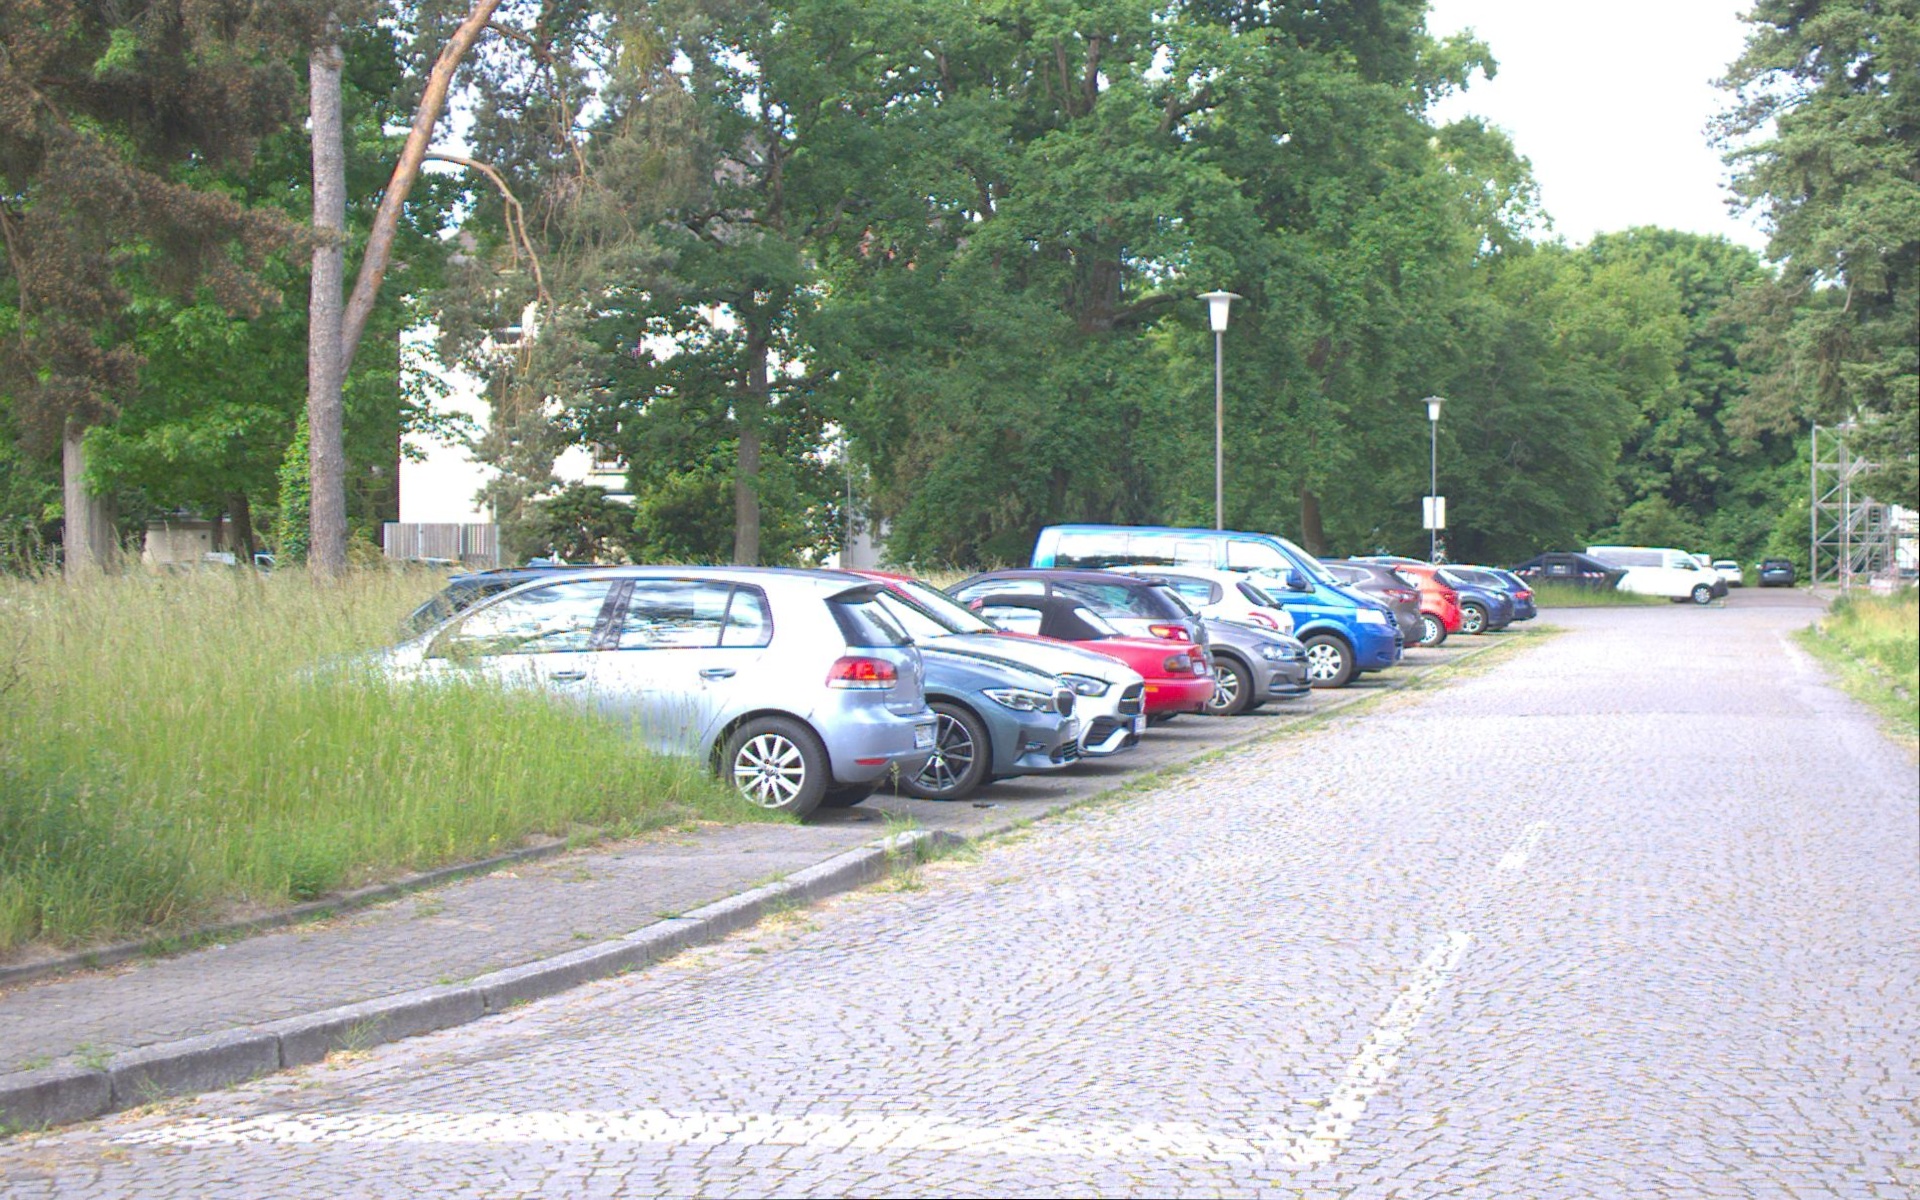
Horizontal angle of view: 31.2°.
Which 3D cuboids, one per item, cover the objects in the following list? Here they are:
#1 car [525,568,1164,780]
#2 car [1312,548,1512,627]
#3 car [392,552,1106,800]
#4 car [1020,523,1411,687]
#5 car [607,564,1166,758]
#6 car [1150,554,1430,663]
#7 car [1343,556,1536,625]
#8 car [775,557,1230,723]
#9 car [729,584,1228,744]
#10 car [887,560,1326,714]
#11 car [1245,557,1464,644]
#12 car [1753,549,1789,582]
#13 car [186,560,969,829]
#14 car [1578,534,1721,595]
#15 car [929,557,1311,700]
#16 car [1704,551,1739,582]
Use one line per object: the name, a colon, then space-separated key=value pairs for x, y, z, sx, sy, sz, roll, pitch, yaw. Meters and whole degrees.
car: x=-0.831 y=0.516 z=25.913 sx=4.439 sy=1.450 sz=1.948 roll=1 pitch=0 yaw=13
car: x=9.563 y=-0.279 z=72.598 sx=4.073 sy=1.598 sz=1.787 roll=1 pitch=1 yaw=11
car: x=-1.371 y=0.478 z=23.283 sx=4.503 sy=1.532 sz=1.870 roll=1 pitch=0 yaw=10
car: x=3.287 y=0.032 z=43.854 sx=4.712 sy=1.974 sz=2.037 roll=1 pitch=1 yaw=12
car: x=-0.566 y=0.463 z=28.220 sx=4.256 sy=1.450 sz=1.854 roll=1 pitch=1 yaw=13
car: x=5.066 y=0.111 z=52.545 sx=4.070 sy=1.570 sz=1.953 roll=1 pitch=1 yaw=12
car: x=10.767 y=-0.234 z=77.139 sx=4.074 sy=1.462 sz=1.624 roll=1 pitch=1 yaw=16
car: x=0.429 y=0.351 z=33.184 sx=4.090 sy=1.475 sz=1.754 roll=1 pitch=1 yaw=14
car: x=0.194 y=0.536 z=30.491 sx=4.133 sy=1.279 sz=1.763 roll=1 pitch=1 yaw=13
car: x=1.546 y=0.353 z=35.885 sx=4.307 sy=1.475 sz=1.730 roll=1 pitch=1 yaw=14
car: x=7.202 y=-0.009 z=62.632 sx=3.818 sy=1.484 sz=1.787 roll=1 pitch=1 yaw=12
car: x=44.265 y=-1.867 z=187.714 sx=1.791 sy=1.714 sz=4.059 roll=0 pitch=-1 yaw=11
car: x=-2.273 y=0.524 z=20.796 sx=4.332 sy=1.465 sz=1.826 roll=1 pitch=0 yaw=14
car: x=24.882 y=-1.286 z=124.111 sx=4.980 sy=2.065 sz=2.051 roll=1 pitch=-1 yaw=12
car: x=1.825 y=0.294 z=38.758 sx=4.008 sy=1.496 sz=1.841 roll=1 pitch=1 yaw=14
car: x=41.636 y=-1.836 z=187.988 sx=1.791 sy=1.630 sz=4.059 roll=0 pitch=-1 yaw=11
